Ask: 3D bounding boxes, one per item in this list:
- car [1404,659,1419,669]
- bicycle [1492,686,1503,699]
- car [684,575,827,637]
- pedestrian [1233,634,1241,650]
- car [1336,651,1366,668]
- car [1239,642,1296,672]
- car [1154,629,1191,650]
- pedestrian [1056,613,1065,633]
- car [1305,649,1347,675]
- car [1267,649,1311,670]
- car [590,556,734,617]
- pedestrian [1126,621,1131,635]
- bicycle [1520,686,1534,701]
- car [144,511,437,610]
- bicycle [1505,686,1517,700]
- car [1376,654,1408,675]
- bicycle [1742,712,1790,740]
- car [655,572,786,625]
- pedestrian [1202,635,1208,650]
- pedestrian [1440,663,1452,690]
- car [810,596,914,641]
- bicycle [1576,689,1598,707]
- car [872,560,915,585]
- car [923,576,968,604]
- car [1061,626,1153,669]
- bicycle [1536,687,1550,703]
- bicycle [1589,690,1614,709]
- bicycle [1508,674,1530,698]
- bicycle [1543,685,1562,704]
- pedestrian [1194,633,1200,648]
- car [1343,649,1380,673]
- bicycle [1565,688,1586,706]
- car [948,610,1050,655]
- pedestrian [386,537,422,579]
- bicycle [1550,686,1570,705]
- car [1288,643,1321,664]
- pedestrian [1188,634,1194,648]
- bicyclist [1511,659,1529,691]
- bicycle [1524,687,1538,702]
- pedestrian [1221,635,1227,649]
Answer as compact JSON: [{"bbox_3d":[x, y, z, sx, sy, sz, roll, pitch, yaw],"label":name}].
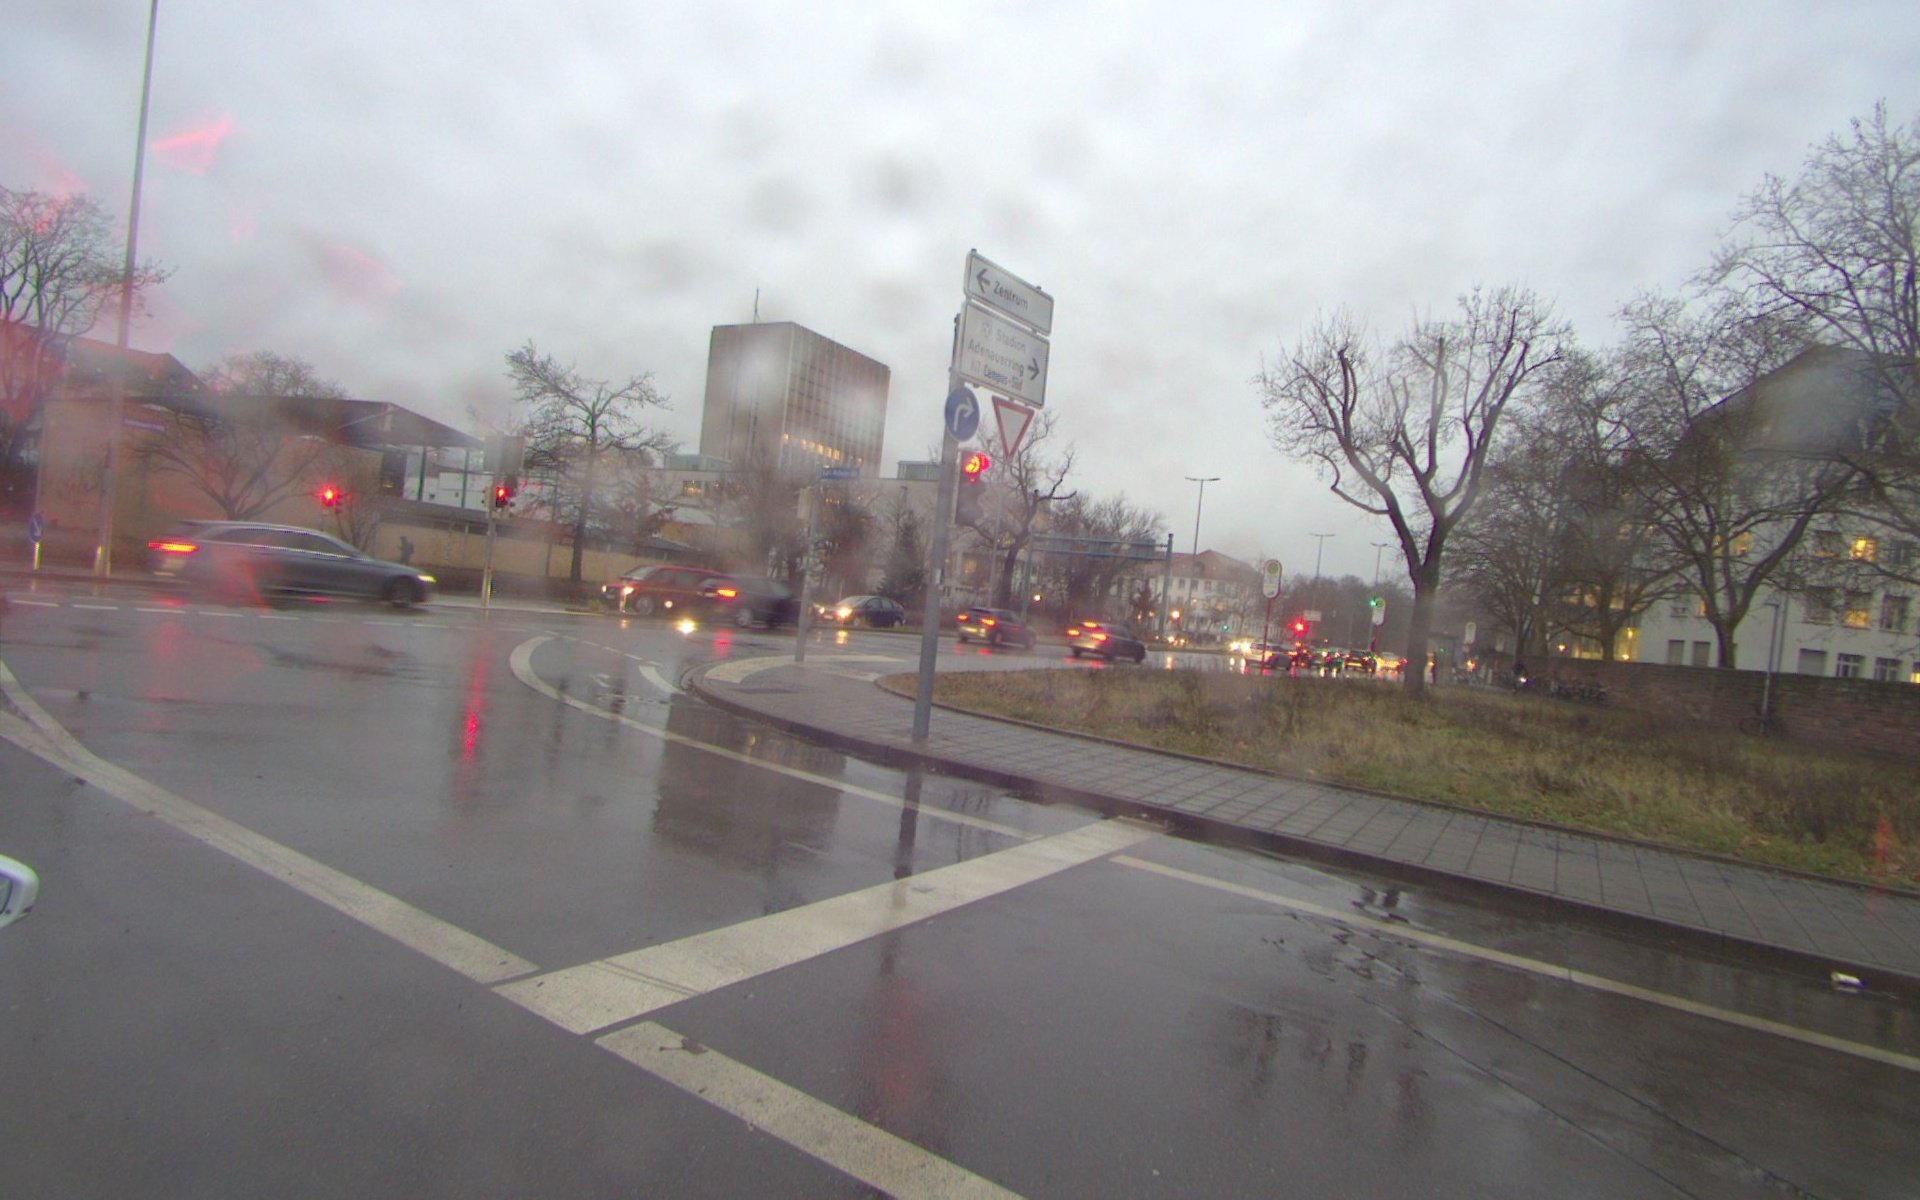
[{"bbox_3d":[69.313,9.761,154.370,1.620,1.346,3.671,7,1,31],"label":"car"},{"bbox_3d":[36.389,6.249,68.109,0.387,0.795,1.532,7,-2,20],"label":"bicycle"},{"bbox_3d":[-6.067,0.214,30.241,1.784,1.496,3.953,6,0,37],"label":"car"},{"bbox_3d":[35.051,5.311,127.220,0.567,2.040,0.592,8,3,37],"label":"pedestrian"},{"bbox_3d":[35.257,5.348,90.633,1.674,1.318,3.756,6,0,34],"label":"car"},{"bbox_3d":[18.550,3.447,60.557,1.908,1.571,4.685,6,0,34],"label":"car"},{"bbox_3d":[19.034,3.524,90.095,1.811,1.602,4.127,6,0,31],"label":"car"},{"bbox_3d":[8.798,2.036,88.181,0.411,1.725,0.430,8,3,44],"label":"pedestrian"},{"bbox_3d":[26.829,4.557,73.672,1.812,1.602,4.124,6,0,35],"label":"car"},{"bbox_3d":[24.977,4.536,76.201,1.908,1.318,4.685,6,0,34],"label":"car"},{"bbox_3d":[-11.760,-0.496,40.076,2.016,1.903,5.320,6,0,35],"label":"car"},{"bbox_3d":[16.389,2.728,97.864,0.258,1.364,0.289,7,2,31],"label":"pedestrian"},{"bbox_3d":[33.323,5.489,59.147,0.387,0.795,1.532,7,-2,20],"label":"bicycle"},{"bbox_3d":[-13.602,-0.755,20.695,1.785,1.496,4.650,6,0,40],"label":"car"},{"bbox_3d":[34.850,5.868,63.628,0.387,0.795,1.532,7,-2,20],"label":"bicycle"},{"bbox_3d":[39.011,5.818,90.778,1.811,1.710,4.311,6,0,32],"label":"car"},{"bbox_3d":[28.203,4.400,35.227,0.387,0.834,1.386,7,-2,-4],"label":"bicycle"},{"bbox_3d":[-8.590,-0.023,36.373,1.784,1.496,4.411,6,0,37],"label":"car"},{"bbox_3d":[28.622,4.958,117.733,0.404,1.713,0.427,7,2,28],"label":"pedestrian"},{"bbox_3d":[30.151,4.735,62.420,0.462,1.623,0.486,7,-1,25],"label":"pedestrian"},{"bbox_3d":[-4.066,0.800,42.419,1.784,1.496,4.411,6,0,37],"label":"car"},{"bbox_3d":[30.549,4.770,49.002,0.387,0.795,1.533,7,-2,14],"label":"bicycle"},{"bbox_3d":[-7.018,-2.899,106.610,2.014,2.102,4.892,6,0,30],"label":"car"},{"bbox_3d":[-1.444,-0.993,103.217,2.014,2.452,5.326,6,0,30],"label":"car"},{"bbox_3d":[6.279,2.026,42.561,1.784,1.496,4.576,6,0,37],"label":"car"},{"bbox_3d":[32.412,5.292,55.954,0.387,0.795,1.607,7,-2,22],"label":"bicycle"},{"bbox_3d":[30.275,4.674,47.477,0.352,0.795,1.415,7,-2,8],"label":"bicycle"},{"bbox_3d":[29.717,4.575,53.508,0.599,1.181,1.682,7,-2,19],"label":"bicycle"},{"bbox_3d":[31.842,5.076,54.089,0.387,0.927,1.532,7,-2,15],"label":"bicycle"},{"bbox_3d":[26.875,4.574,113.884,0.404,1.713,0.427,7,2,28],"label":"pedestrian"},{"bbox_3d":[32.655,4.975,81.744,1.812,1.710,4.311,6,-1,34],"label":"car"},{"bbox_3d":[31.038,4.877,50.746,0.343,0.848,1.493,7,-2,13],"label":"bicycle"},{"bbox_3d":[1.658,1.345,40.822,1.784,1.496,4.576,6,0,37],"label":"car"},{"bbox_3d":[-23.236,-1.755,42.030,0.783,1.624,0.960,8,2,39],"label":"pedestrian"},{"bbox_3d":[31.356,4.981,52.558,0.387,0.868,1.532,7,-2,15],"label":"bicycle"},{"bbox_3d":[30.509,4.752,89.048,1.811,1.602,4.127,6,0,31],"label":"car"},{"bbox_3d":[27.491,4.892,119.868,0.404,1.713,0.427,7,2,28],"label":"pedestrian"},{"bbox_3d":[29.795,3.990,53.522,0.599,1.660,0.453,7,-1,19],"label":"bicyclist"},{"bbox_3d":[32.840,5.406,57.868,0.387,0.795,1.532,7,-2,19],"label":"bicycle"},{"bbox_3d":[32.965,5.256,125.669,0.404,1.713,0.561,7,2,28],"label":"pedestrian"}]
